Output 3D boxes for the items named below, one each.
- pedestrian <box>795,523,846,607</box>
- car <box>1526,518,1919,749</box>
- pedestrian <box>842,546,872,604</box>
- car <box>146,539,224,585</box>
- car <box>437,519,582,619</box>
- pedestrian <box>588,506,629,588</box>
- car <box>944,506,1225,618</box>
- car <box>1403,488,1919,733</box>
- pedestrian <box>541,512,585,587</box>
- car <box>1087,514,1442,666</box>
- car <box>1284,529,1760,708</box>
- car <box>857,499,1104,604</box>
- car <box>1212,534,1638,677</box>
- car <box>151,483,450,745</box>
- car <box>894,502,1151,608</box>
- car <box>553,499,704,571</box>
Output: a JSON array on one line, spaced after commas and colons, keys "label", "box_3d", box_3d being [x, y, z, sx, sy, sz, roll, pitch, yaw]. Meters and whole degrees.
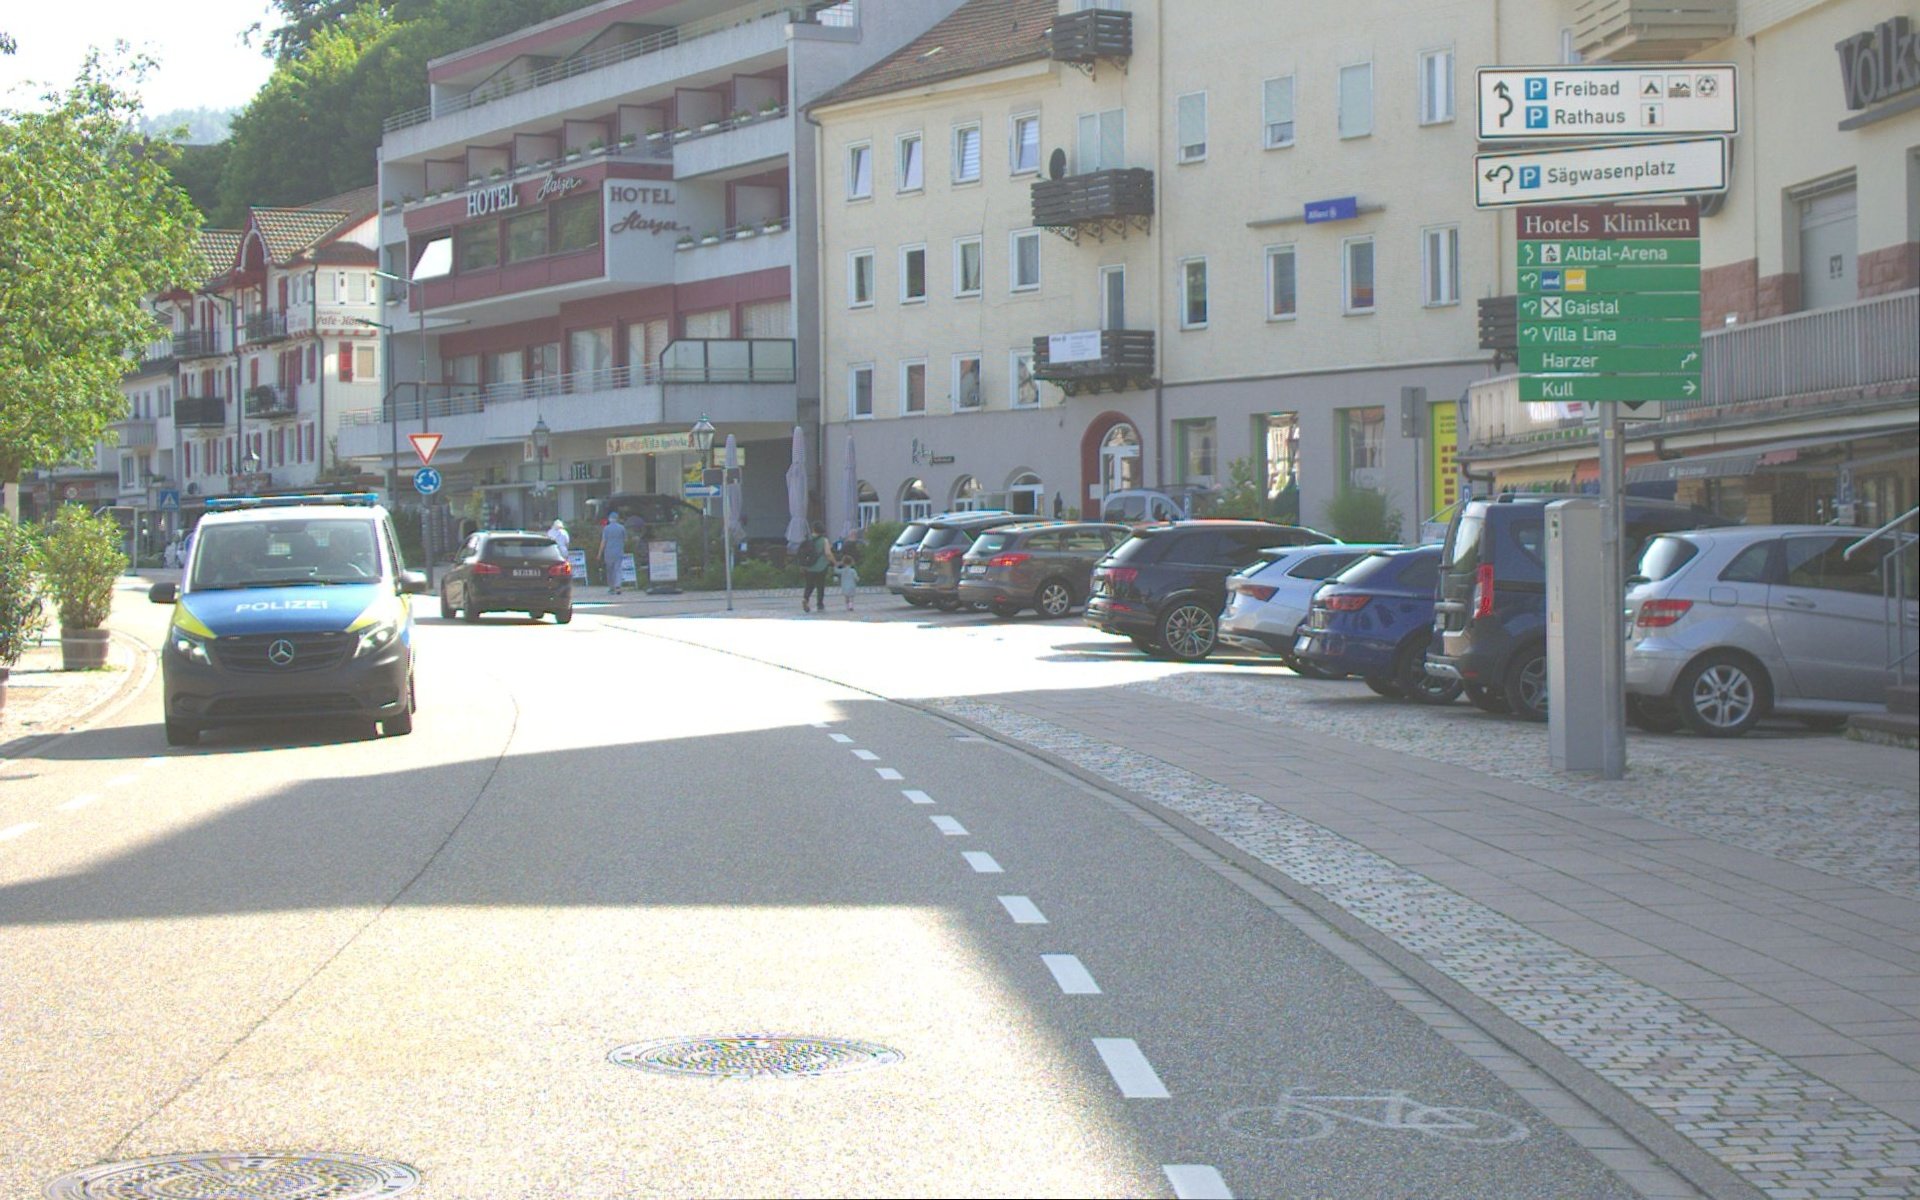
[{"label": "pedestrian", "box_3d": [-2.456, -0.619, 60.545, 0.735, 1.437, 0.633, -3, 1, -13]}, {"label": "car", "box_3d": [6.377, 0.248, 25.611, 3.909, 1.583, 1.775, 2, 1, -4]}, {"label": "pedestrian", "box_3d": [-1.810, -0.447, 60.626, 0.417, 0.998, 0.531, -2, 1, 6]}, {"label": "car", "box_3d": [-27.622, -1.369, 122.446, 1.676, 1.615, 4.000, 0, 1, -29]}, {"label": "car", "box_3d": [-7.736, -0.562, 58.787, 1.727, 1.569, 3.754, 0, 3, -19]}, {"label": "pedestrian", "box_3d": [-7.476, -1.132, 73.171, 0.668, 1.723, 0.708, 0, 1, -27]}, {"label": "car", "box_3d": [1.970, -0.622, 54.309, 4.009, 1.511, 1.773, -4, 3, -24]}, {"label": "car", "box_3d": [5.806, 0.089, 28.366, 3.909, 1.798, 1.858, 2, 0, -4]}, {"label": "pedestrian", "box_3d": [-8.467, -1.085, 73.296, 0.757, 1.588, 0.628, 0, 1, -27]}, {"label": "car", "box_3d": [3.729, -0.132, 42.503, 4.083, 1.660, 1.773, 2, 1, -4]}, {"label": "car", "box_3d": [5.025, 0.155, 31.070, 3.909, 1.456, 1.736, 2, 1, -4]}, {"label": "car", "box_3d": [0.360, -0.870, 60.102, 3.860, 1.607, 1.773, -4, 3, -24]}, {"label": "car", "box_3d": [5.037, 0.065, 37.607, 4.356, 1.456, 1.772, 1, -1, -2]}, {"label": "car", "box_3d": [-5.415, 0.077, 28.820, 1.854, 1.946, 5.018, -2, 1, -4]}, {"label": "car", "box_3d": [1.042, -0.780, 57.605, 3.860, 1.544, 1.773, -4, 3, -24]}, {"label": "car", "box_3d": [-7.750, -1.515, 80.307, 3.162, 1.657, 1.595, 0, 1, -24]}]
